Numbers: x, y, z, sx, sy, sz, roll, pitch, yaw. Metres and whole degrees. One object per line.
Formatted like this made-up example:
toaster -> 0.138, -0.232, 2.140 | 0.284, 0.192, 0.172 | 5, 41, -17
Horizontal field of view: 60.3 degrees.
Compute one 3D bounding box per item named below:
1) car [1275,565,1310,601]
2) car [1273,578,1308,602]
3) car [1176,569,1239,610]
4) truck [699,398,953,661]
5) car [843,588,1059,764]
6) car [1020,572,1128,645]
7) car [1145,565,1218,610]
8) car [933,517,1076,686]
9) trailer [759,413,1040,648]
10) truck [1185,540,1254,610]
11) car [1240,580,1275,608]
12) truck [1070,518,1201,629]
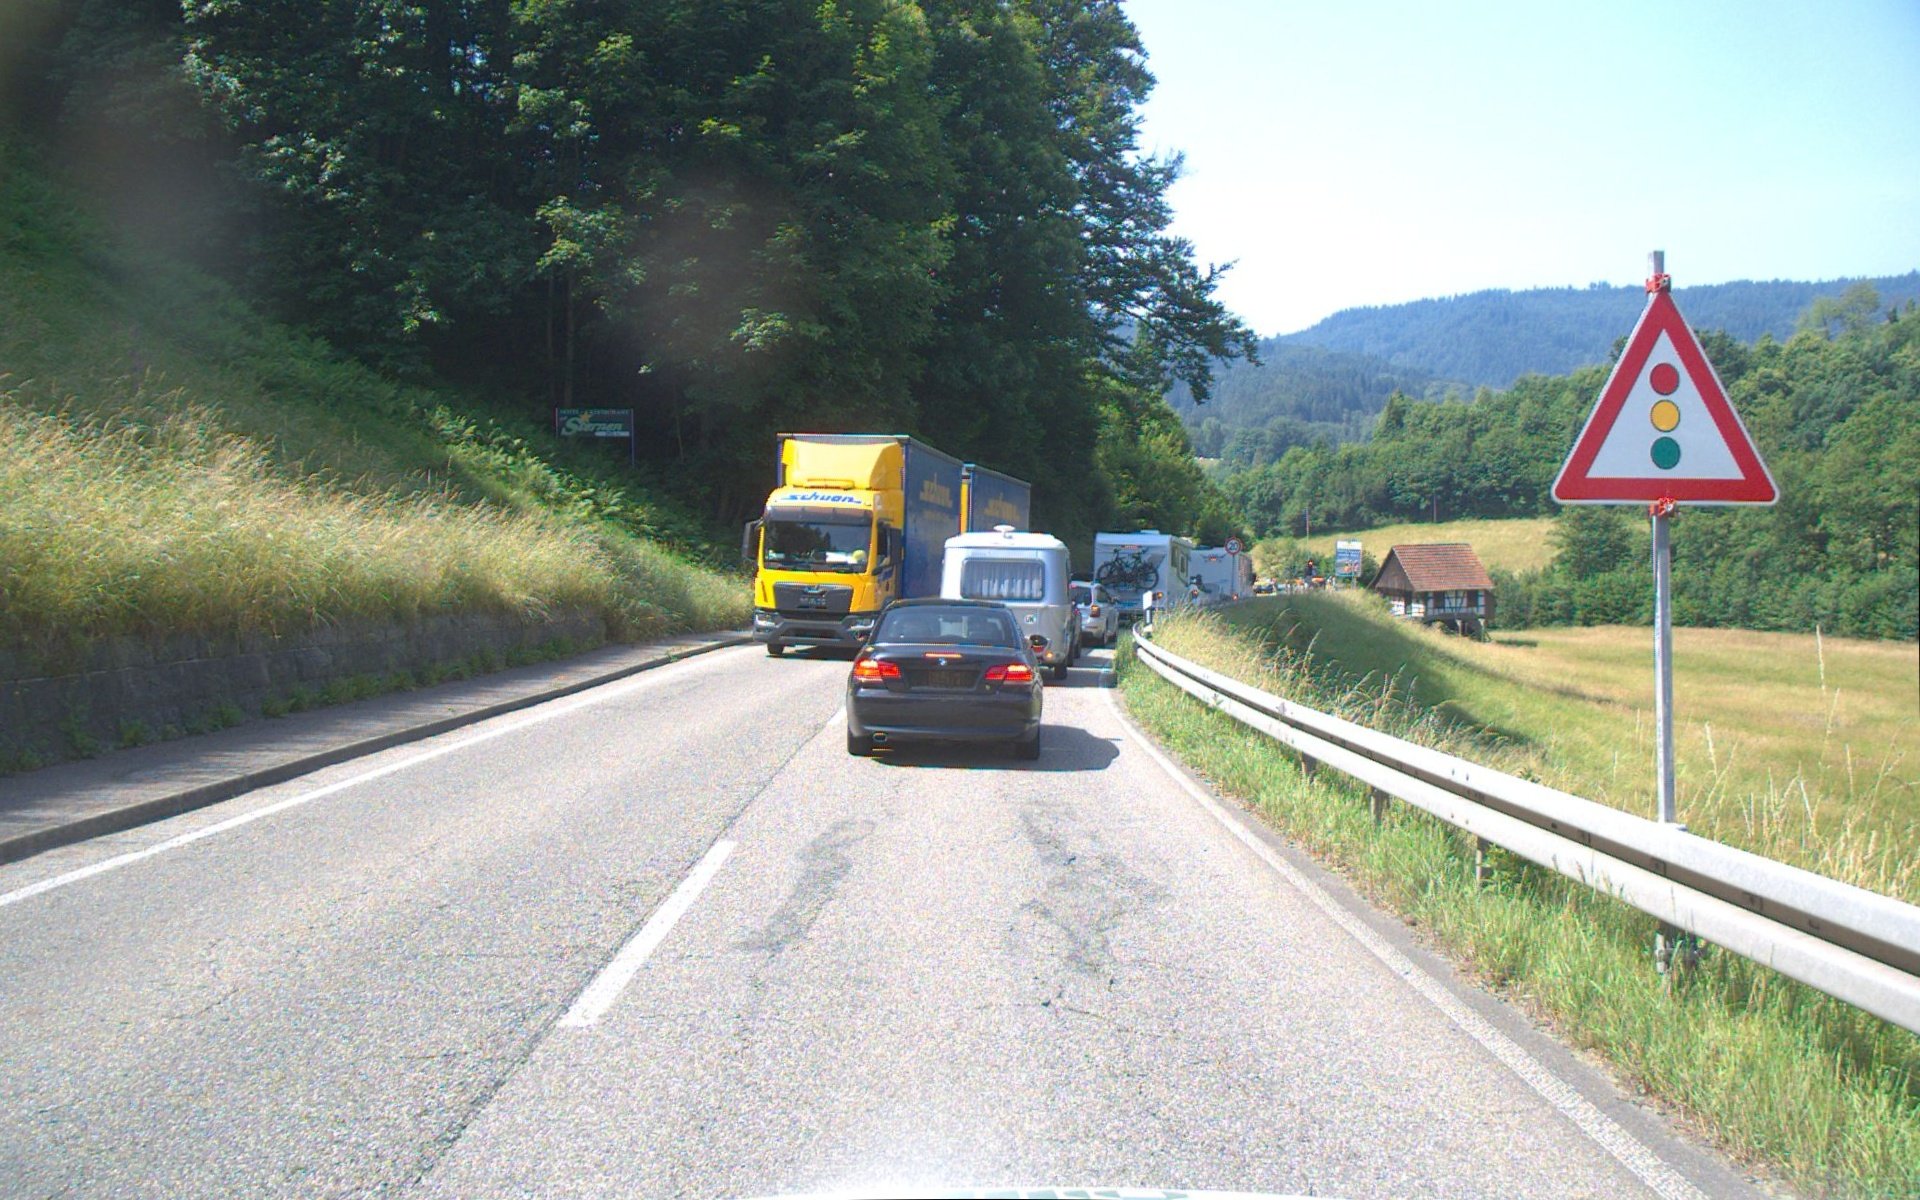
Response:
car -> 21.000, -1.065, 104.475 | 1.952, 1.958, 4.003 | 5, 0, 12
car -> 24.390, -0.728, 121.845 | 1.952, 1.603, 4.001 | 2, 0, 20
car -> 9.931, -0.454, 66.217 | 1.750, 1.489, 4.002 | 4, 2, 18
truck -> -2.378, -1.337, 32.089 | 3.120, 4.472, 6.578 | 2, 2, 11
car -> -0.088, 0.609, 15.436 | 1.735, 1.359, 3.767 | 2, 1, -1
car -> 2.720, 0.164, 38.697 | 1.951, 1.510, 4.004 | 3, 1, 11
car -> 8.166, -0.484, 60.687 | 1.952, 1.489, 4.003 | 4, 2, 17
car -> 0.812, -0.067, 26.484 | 1.951, 2.393, 4.918 | 2, 2, 5
trailer -> -0.845, -1.523, 39.840 | 3.190, 4.494, 15.330 | 2, 1, 11
truck -> 11.489, -1.058, 72.875 | 2.190, 2.853, 6.236 | 2, 0, 15
car -> 17.131, -0.314, 95.117 | 1.866, 1.512, 4.003 | 2, 0, 11
truck -> 5.519, -0.834, 51.020 | 2.732, 3.049, 6.873 | 4, 2, 16
